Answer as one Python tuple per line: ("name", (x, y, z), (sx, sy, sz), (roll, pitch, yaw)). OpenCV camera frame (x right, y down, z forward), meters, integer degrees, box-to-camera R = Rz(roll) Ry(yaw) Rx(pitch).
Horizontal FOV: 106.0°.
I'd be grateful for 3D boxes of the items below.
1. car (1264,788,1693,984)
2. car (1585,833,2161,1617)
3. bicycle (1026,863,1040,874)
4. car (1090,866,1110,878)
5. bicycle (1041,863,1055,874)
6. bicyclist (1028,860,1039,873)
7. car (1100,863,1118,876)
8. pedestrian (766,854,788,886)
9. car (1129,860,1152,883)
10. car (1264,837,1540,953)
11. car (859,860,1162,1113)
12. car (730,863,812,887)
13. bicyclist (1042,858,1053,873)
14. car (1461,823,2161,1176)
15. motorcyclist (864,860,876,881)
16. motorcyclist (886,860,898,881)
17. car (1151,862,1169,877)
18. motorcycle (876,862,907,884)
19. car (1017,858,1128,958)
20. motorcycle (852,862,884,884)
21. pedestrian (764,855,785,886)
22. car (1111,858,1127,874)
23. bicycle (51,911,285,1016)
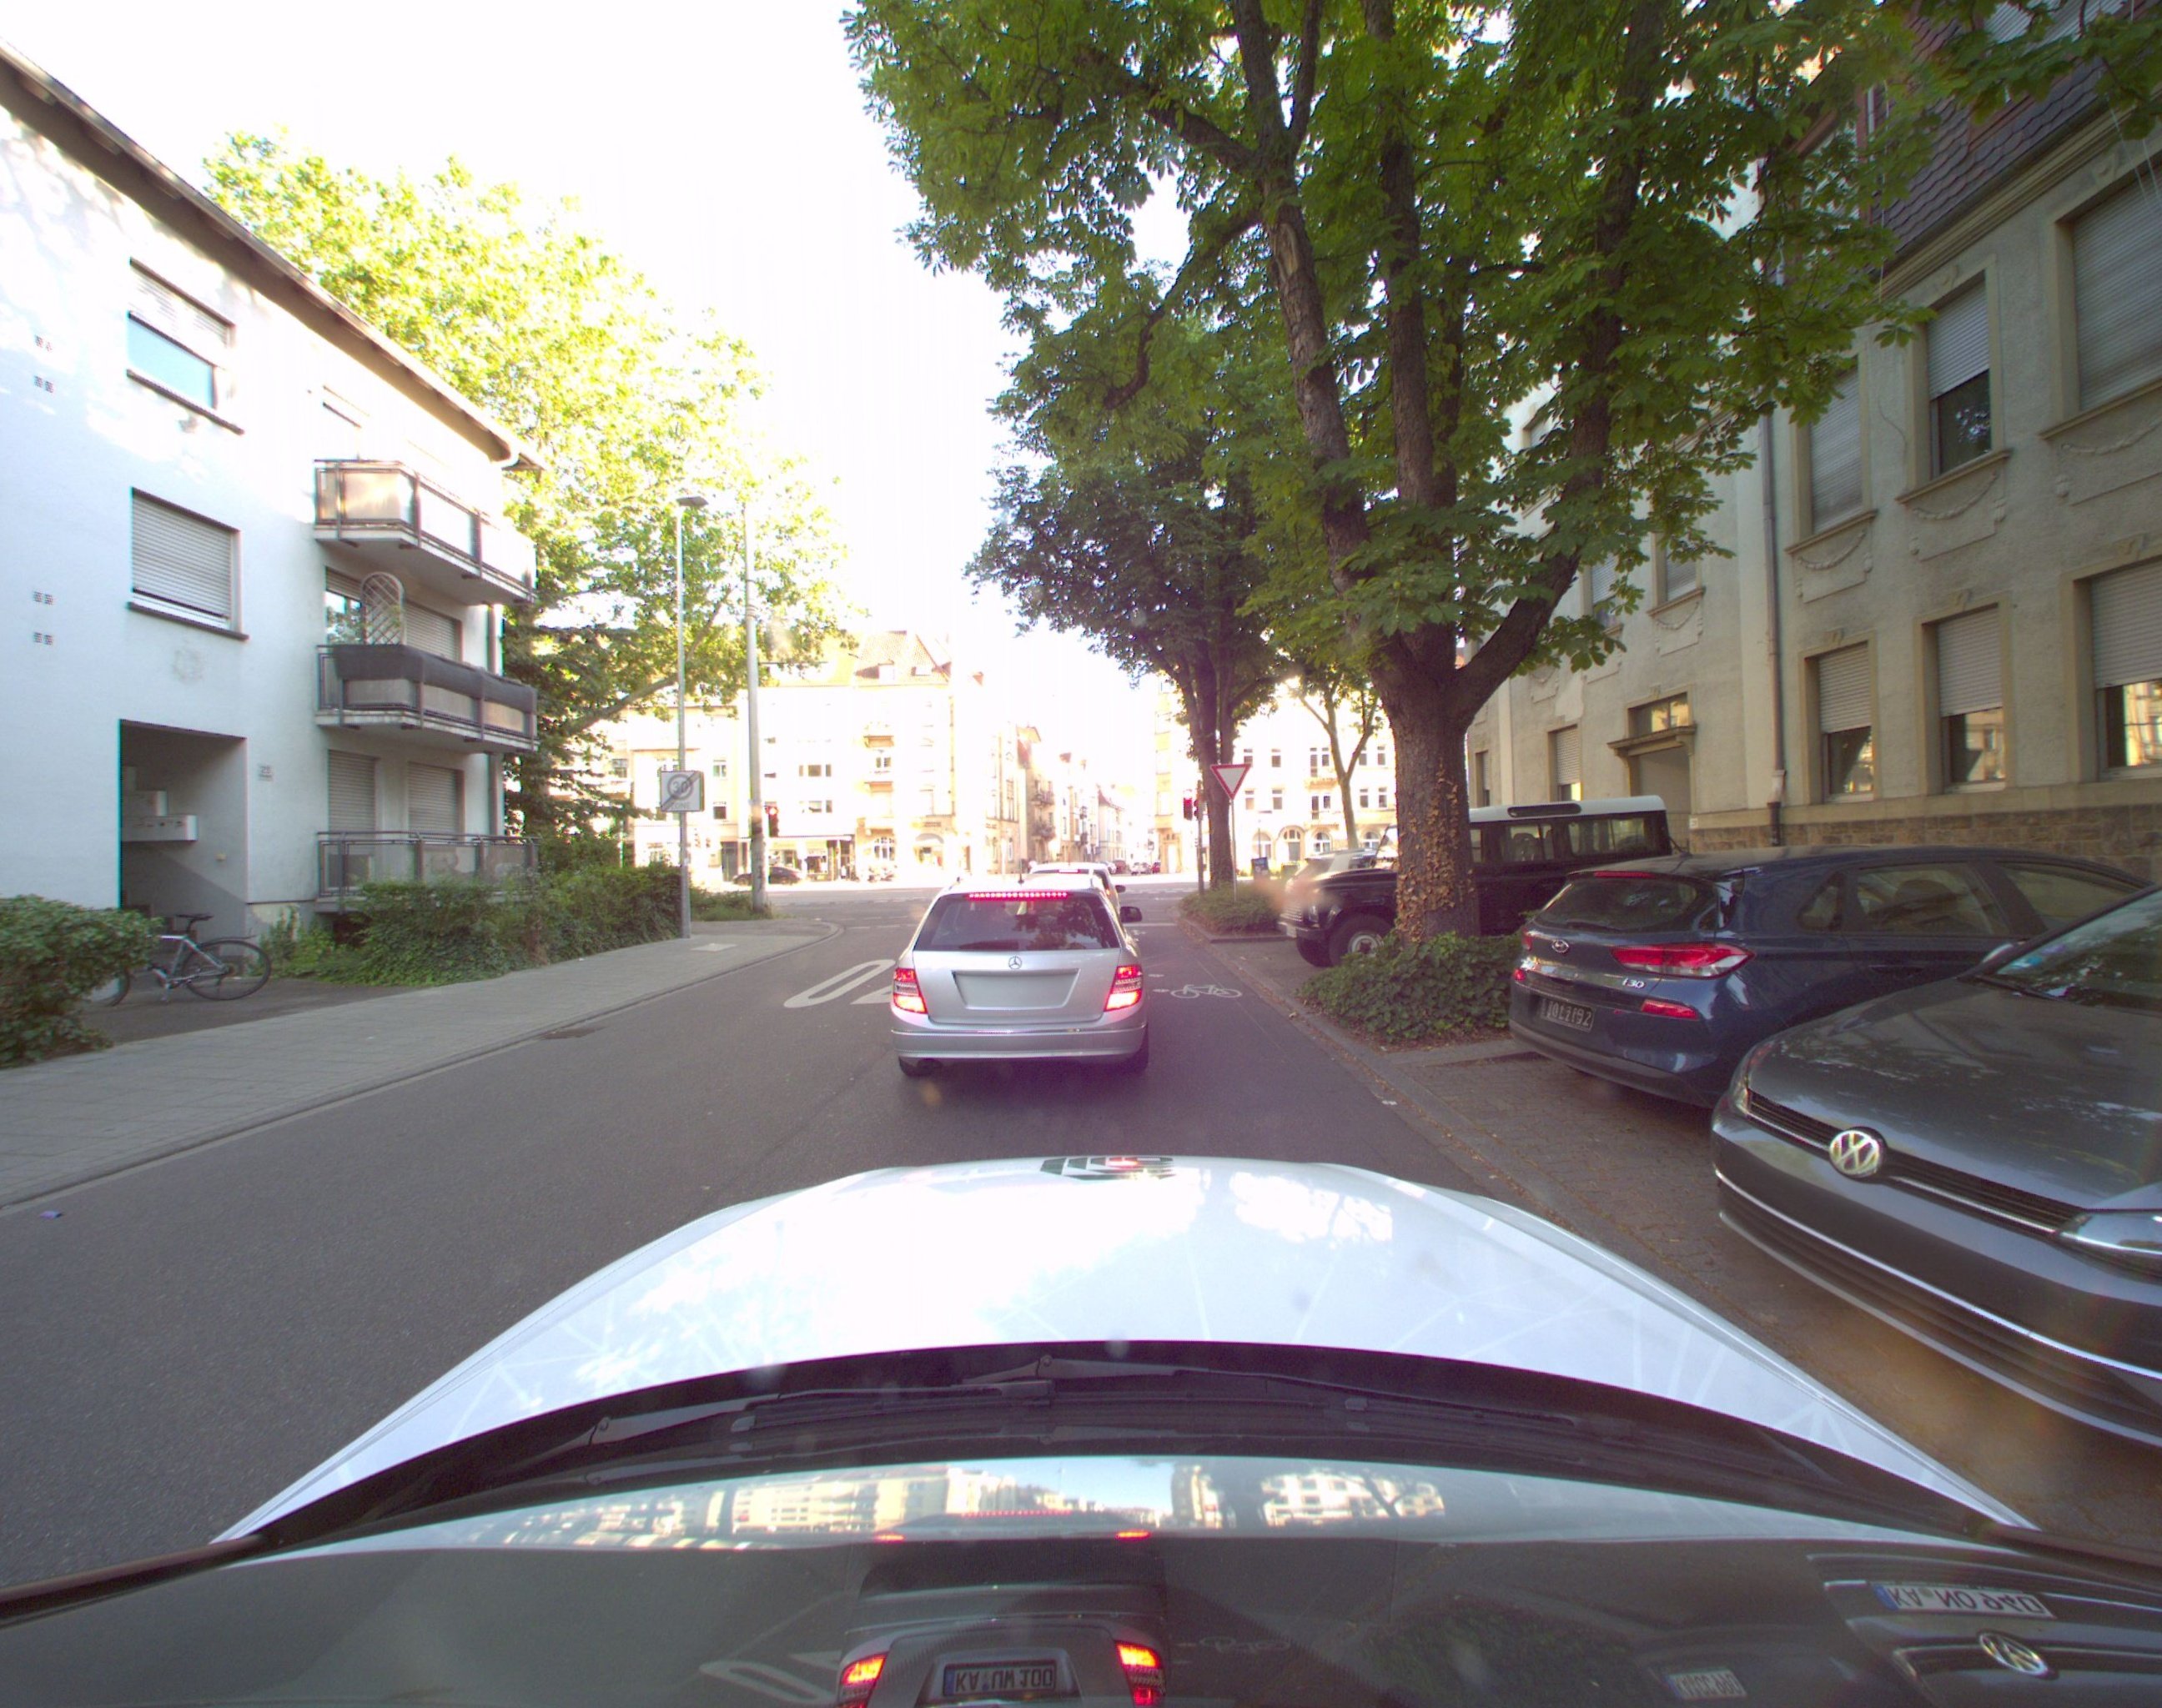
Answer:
("car", (4.739, 0.364, 10.128), (4.453, 2.036, 1.700), (-3, -1, -2))
("car", (4.030, 0.648, 2.383), (4.042, 1.452, 1.722), (-3, -1, -2))
("bicycle", (-4.324, 1.335, 73.646), (0.765, 0.940, 1.947), (-1, 0, 13))
("car", (2.397, 2.248, 102.633), (1.824, 1.402, 4.012), (-1, 0, 10))
("bicycle", (-3.002, 1.318, 73.702), (0.765, 0.934, 1.947), (-1, 0, 13))
("bicyclist", (-4.307, 1.113, 73.725), (0.765, 1.156, 0.755), (-1, 0, 13))
("car", (3.708, 2.059, 108.840), (1.824, 1.663, 4.012), (-1, 0, 10))
("pedestrian", (-24.002, 1.276, 64.272), (1.343, 2.464, 1.059), (-1, 0, -3))
("car", (6.306, 1.808, 85.901), (2.018, 2.279, 4.012), (-1, 0, 10))
("car", (5.028, 0.614, 13.088), (3.714, 1.570, 1.707), (-3, -1, -2))
("car", (-0.405, 0.796, 7.082), (1.771, 1.452, 4.547), (-1, 0, 0))
("car", (-21.247, 1.433, 55.924), (4.871, 1.452, 1.857), (-1, 0, -2))
("bicyclist", (-3.007, 1.024, 73.705), (0.765, 1.290, 0.755), (-1, 0, 13))
("car", (4.395, 0.631, 4.554), (3.714, 1.452, 1.707), (-3, -1, -2))
("motorcyclist", (-14.499, 1.125, 55.923), (0.679, 1.452, 0.568), (-2, 0, -2))
("motorcyclist", (-13.332, 1.146, 57.350), (0.679, 1.452, 0.568), (-2, 0, -2))
("car", (9.877, 1.898, 101.857), (1.824, 1.744, 4.012), (-1, 0, 10))
("motorcycle", (-13.349, 1.311, 57.351), (2.028, 1.452, 0.568), (-2, 0, -3))
("car", (-0.110, 0.812, 14.170), (1.614, 1.447, 4.344), (-1, 0, 0))
("motorcycle", (-14.604, 1.281, 55.916), (2.028, 1.452, 0.568), (-2, 0, -3))
("pedestrian", (-24.828, 1.307, 65.993), (1.343, 2.464, 1.059), (-1, 0, -3))
("car", (5.481, 1.710, 117.399), (1.776, 2.204, 4.012), (-1, 0, 10))
("bicycle", (-9.997, 1.167, 9.007), (1.630, 1.008, 0.511), (2, -2, -39))
